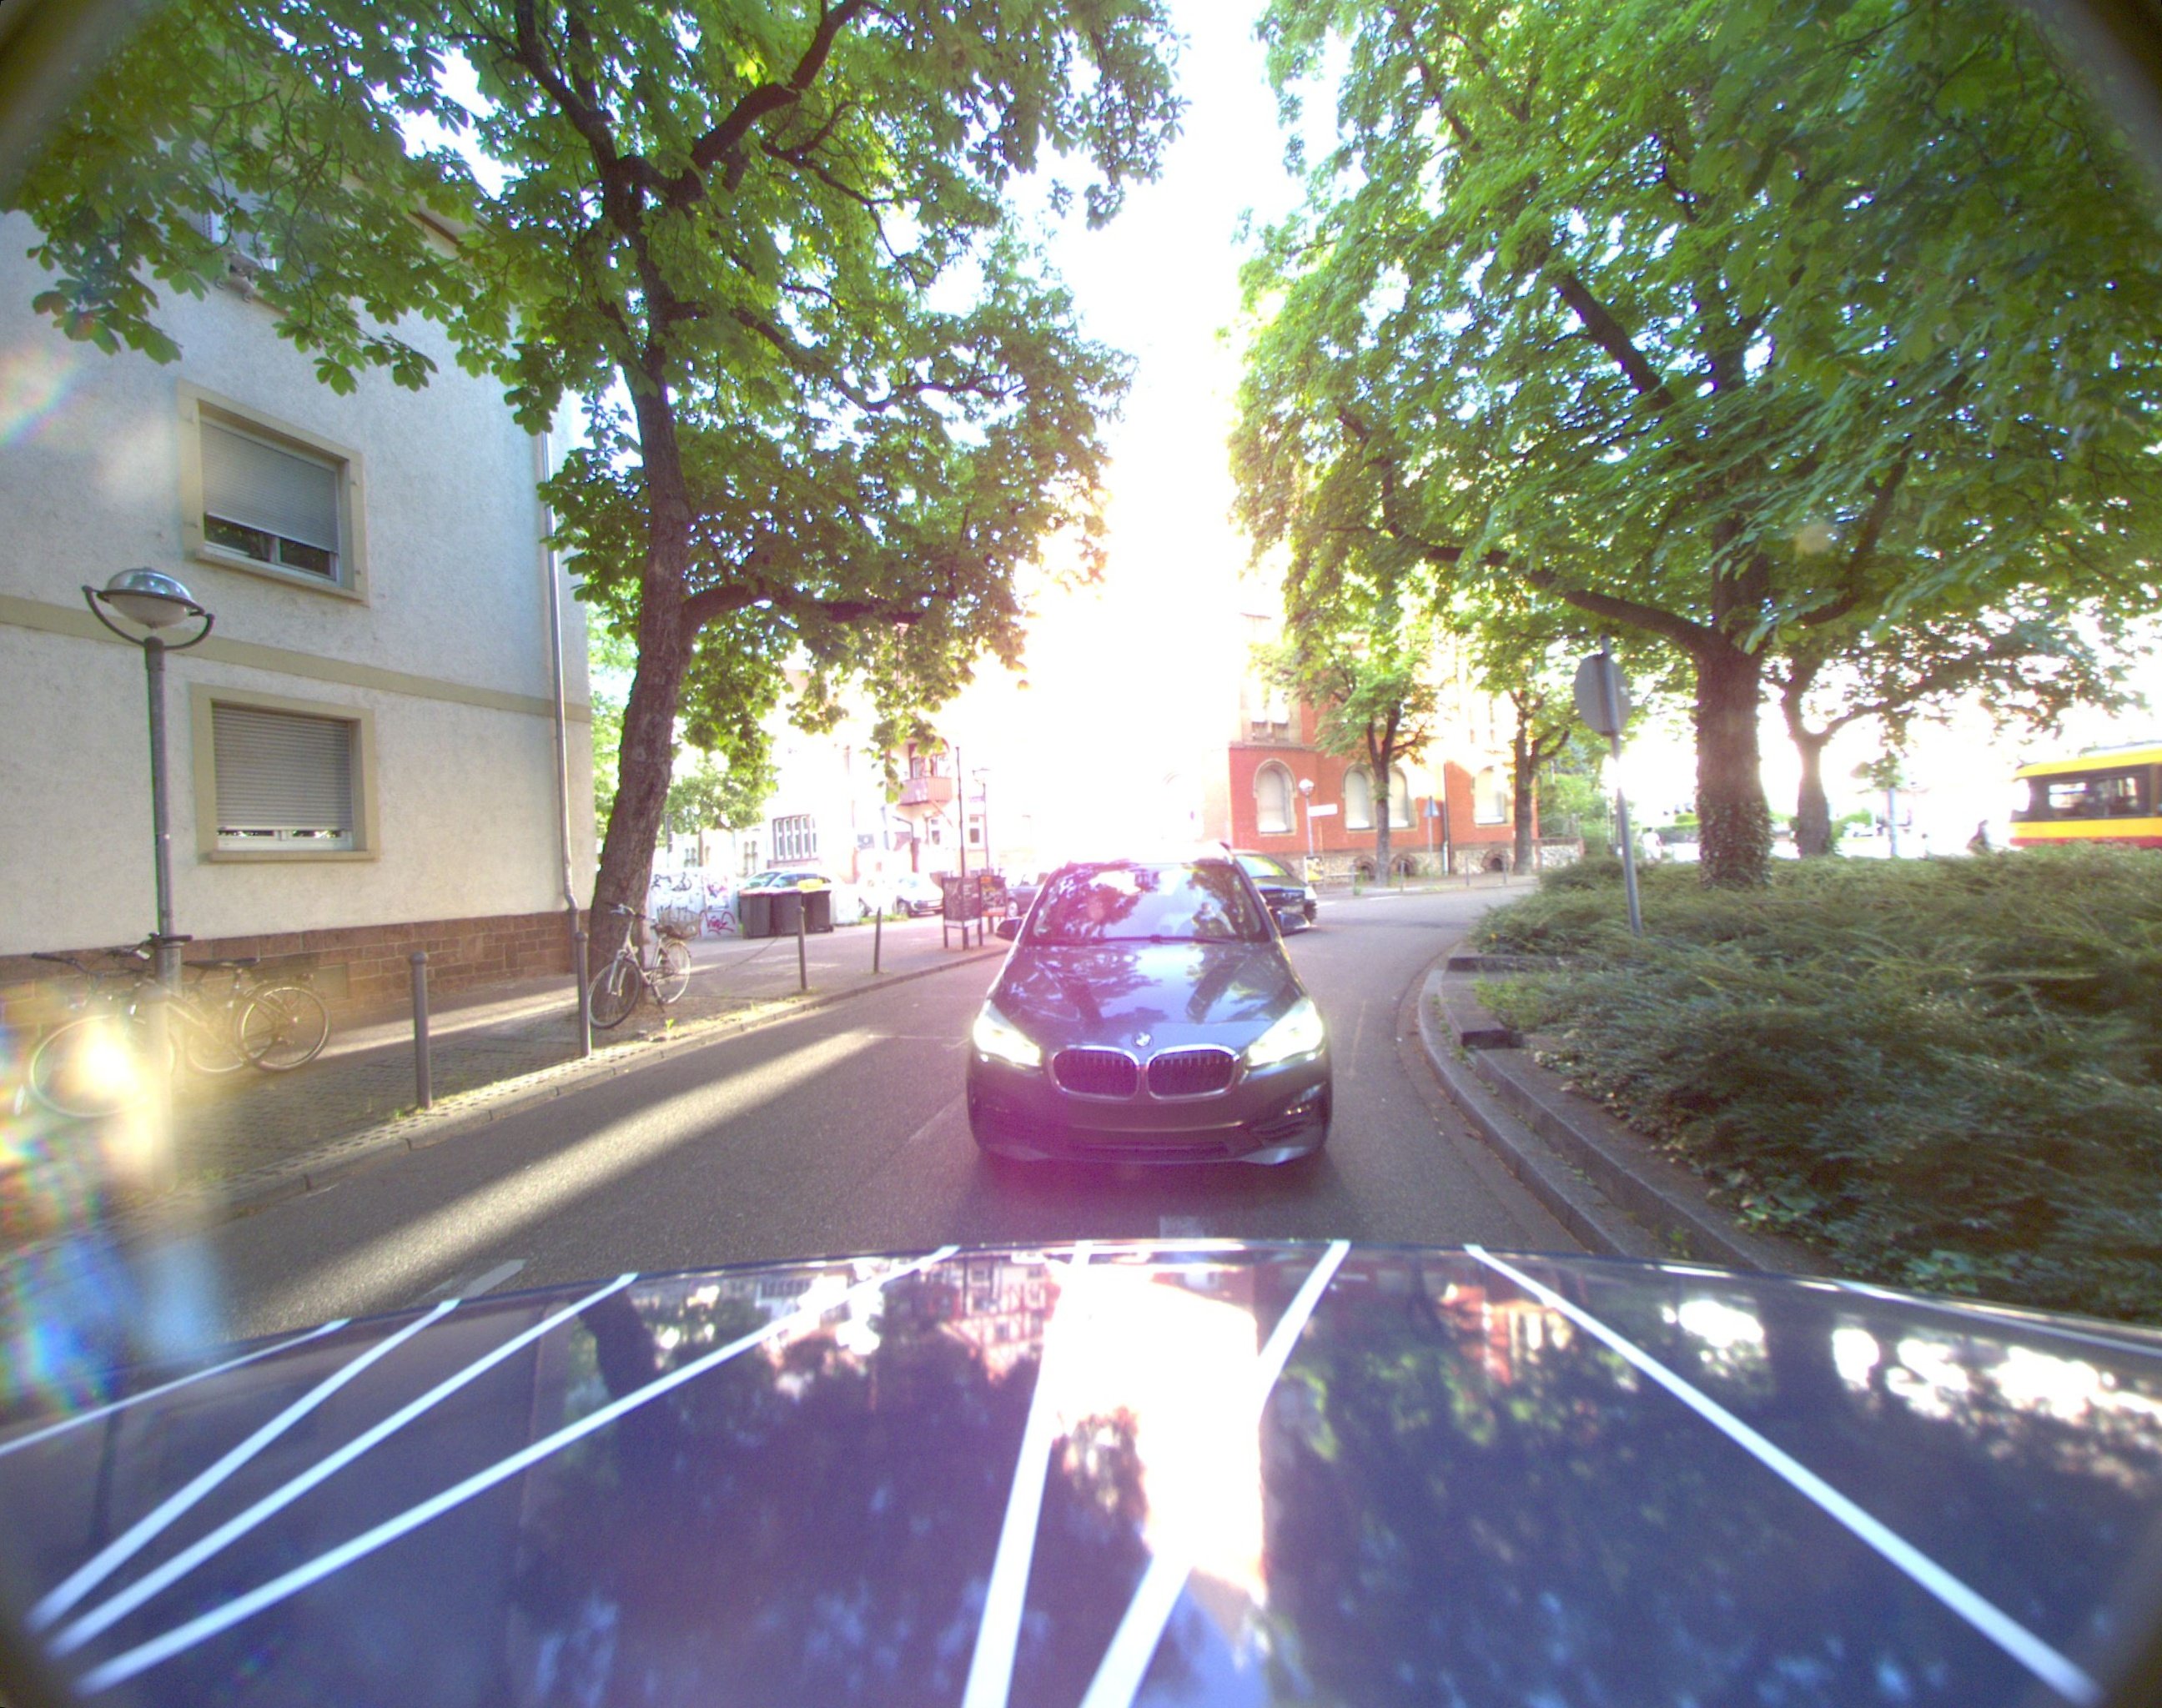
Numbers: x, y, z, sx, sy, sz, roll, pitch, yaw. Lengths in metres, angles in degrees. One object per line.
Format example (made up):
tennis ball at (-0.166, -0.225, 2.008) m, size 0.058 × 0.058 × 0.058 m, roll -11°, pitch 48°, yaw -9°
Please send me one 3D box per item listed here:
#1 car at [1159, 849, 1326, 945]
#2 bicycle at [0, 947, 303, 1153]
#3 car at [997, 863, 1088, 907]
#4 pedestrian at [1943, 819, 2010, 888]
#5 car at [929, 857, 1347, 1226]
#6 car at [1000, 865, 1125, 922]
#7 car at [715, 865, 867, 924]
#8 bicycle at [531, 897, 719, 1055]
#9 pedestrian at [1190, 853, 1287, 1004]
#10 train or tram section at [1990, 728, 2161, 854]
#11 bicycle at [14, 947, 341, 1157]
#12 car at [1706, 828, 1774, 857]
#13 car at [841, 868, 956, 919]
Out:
car at (3.128, 0.786, 15.480) m, size 1.682 × 1.619 × 3.683 m, roll -3°, pitch 0°, yaw -17°
bicycle at (-6.761, 1.332, 5.574) m, size 0.334 × 1.087 × 1.636 m, roll -3°, pitch 0°, yaw 1°
car at (-1.487, 1.169, 28.724) m, size 3.207 × 1.530 × 1.495 m, roll -2°, pitch 0°, yaw 38°
pedestrian at (22.309, -0.008, 18.932) m, size 0.905 × 1.625 × 0.724 m, roll -5°, pitch 0°, yaw -21°
car at (0.460, 0.853, 5.489) m, size 1.792 × 1.569 × 4.262 m, roll -2°, pitch 0°, yaw 6°
car at (-0.576, 1.092, 21.187) m, size 1.475 × 1.381 × 3.393 m, roll -5°, pitch 1°, yaw -44°
car at (-8.431, 1.136, 22.387) m, size 1.672 × 1.417 × 3.811 m, roll -3°, pitch 0°, yaw 36°
bicycle at (-4.605, 1.164, 7.864) m, size 0.767 × 1.297 × 1.903 m, roll -3°, pitch 0°, yaw -1°
pedestrian at (1.726, 0.807, 8.459) m, size 0.944 × 1.583 × 0.643 m, roll -3°, pitch 0°, yaw 8°
train or tram section at (31.519, -1.831, 20.338) m, size 2.768 × 3.536 × 12.697 m, roll -3°, pitch 0°, yaw 18°
bicycle at (-6.370, 1.322, 5.506) m, size 0.334 × 1.087 × 1.636 m, roll -3°, pitch 0°, yaw 1°
car at (35.713, -0.625, 41.283) m, size 1.733 × 1.409 × 4.006 m, roll -3°, pitch 0°, yaw 25°
car at (-6.369, 1.361, 26.267) m, size 4.041 × 1.543 × 1.699 m, roll -3°, pitch 1°, yaw 40°
